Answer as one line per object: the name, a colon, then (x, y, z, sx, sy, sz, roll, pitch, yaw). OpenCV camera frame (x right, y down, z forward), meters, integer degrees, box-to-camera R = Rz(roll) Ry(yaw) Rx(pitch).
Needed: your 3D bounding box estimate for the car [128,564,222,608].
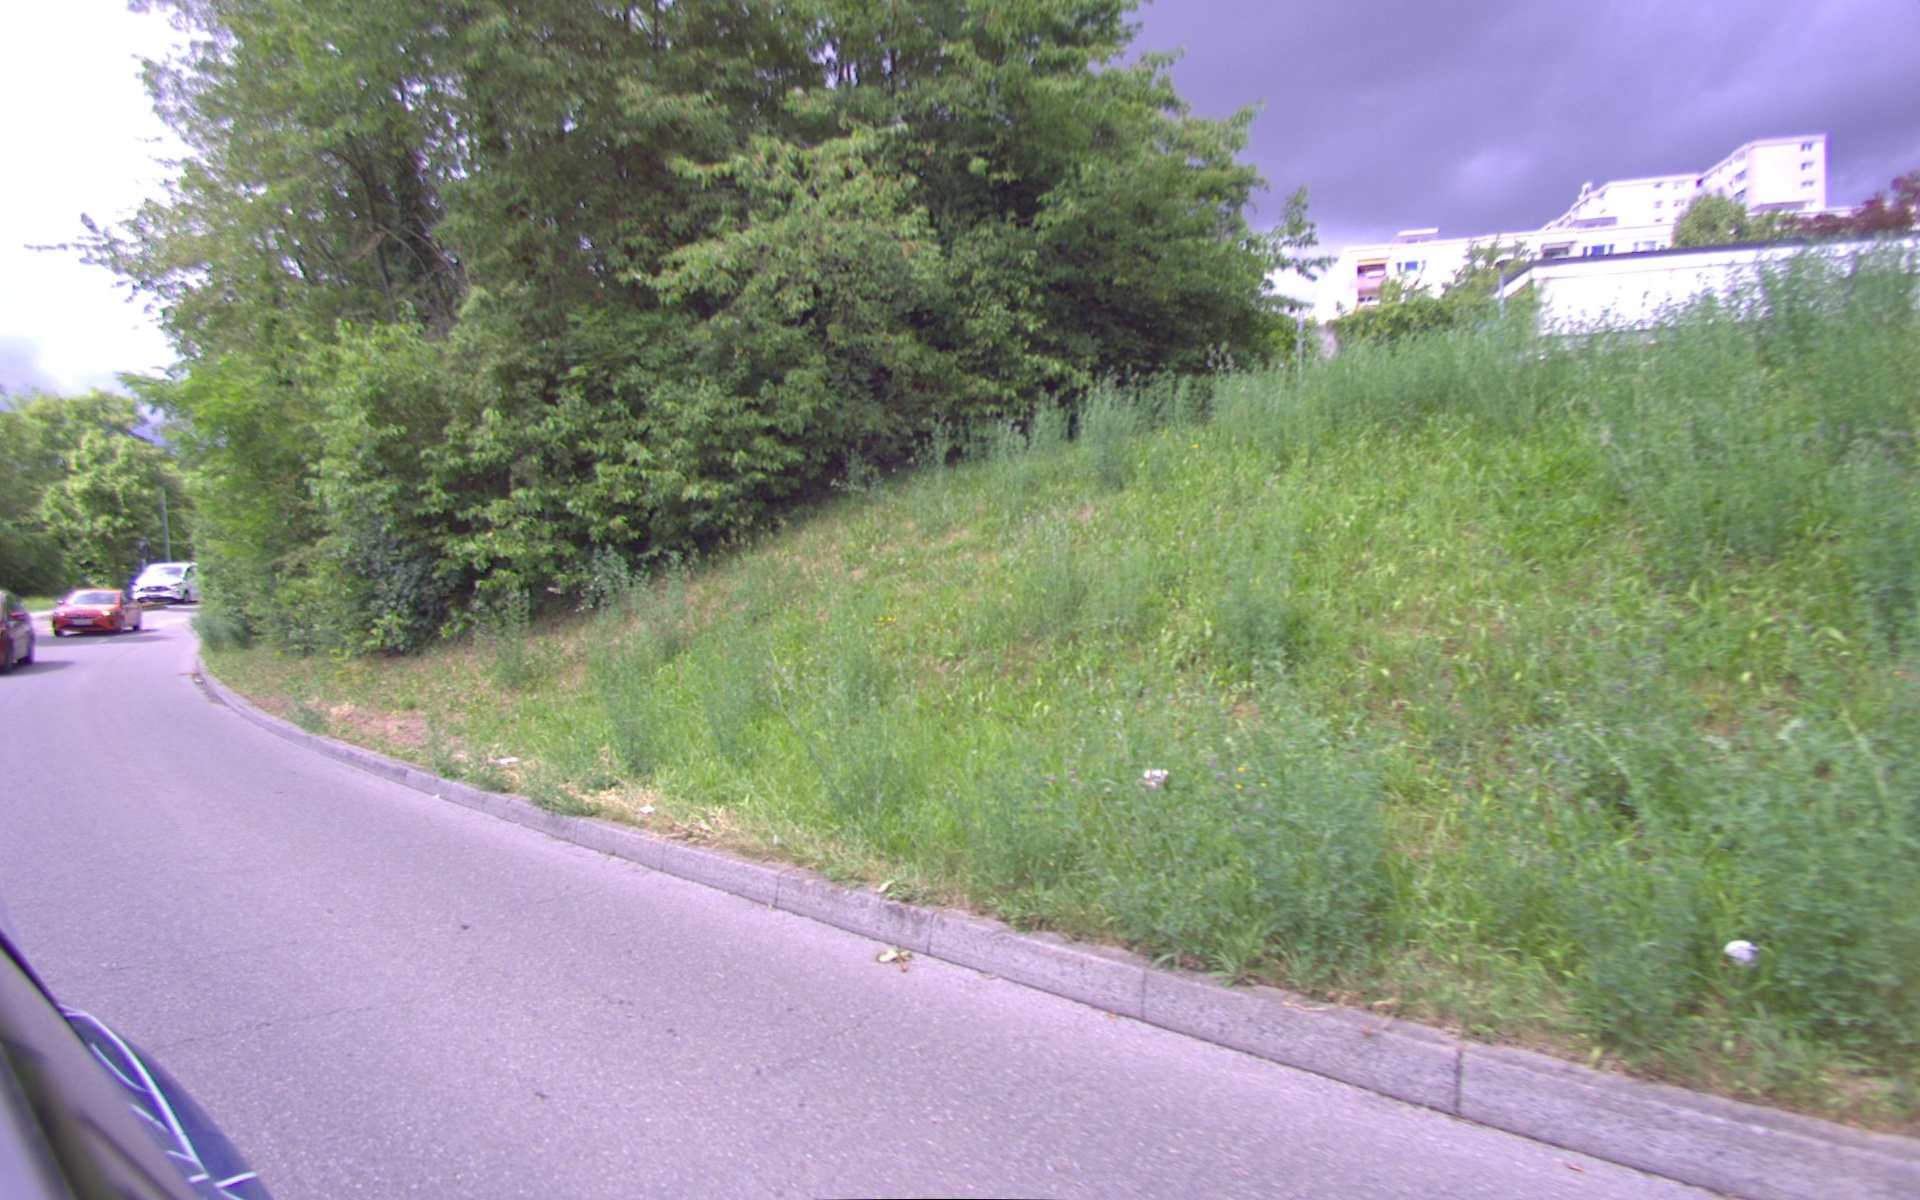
car: (-39.144, -0.753, 50.664, 1.839, 2.074, 5.444, 0, 2, -16)

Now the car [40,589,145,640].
car: (-28.217, 0.425, 33.056, 1.766, 1.423, 4.127, 0, 2, -28)

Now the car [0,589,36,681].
car: (-20.380, 0.654, 20.548, 1.882, 1.711, 4.398, 0, 1, -36)

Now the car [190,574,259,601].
car: (-40.720, -0.709, 56.137, 1.767, 1.423, 4.118, 0, 2, -16)
